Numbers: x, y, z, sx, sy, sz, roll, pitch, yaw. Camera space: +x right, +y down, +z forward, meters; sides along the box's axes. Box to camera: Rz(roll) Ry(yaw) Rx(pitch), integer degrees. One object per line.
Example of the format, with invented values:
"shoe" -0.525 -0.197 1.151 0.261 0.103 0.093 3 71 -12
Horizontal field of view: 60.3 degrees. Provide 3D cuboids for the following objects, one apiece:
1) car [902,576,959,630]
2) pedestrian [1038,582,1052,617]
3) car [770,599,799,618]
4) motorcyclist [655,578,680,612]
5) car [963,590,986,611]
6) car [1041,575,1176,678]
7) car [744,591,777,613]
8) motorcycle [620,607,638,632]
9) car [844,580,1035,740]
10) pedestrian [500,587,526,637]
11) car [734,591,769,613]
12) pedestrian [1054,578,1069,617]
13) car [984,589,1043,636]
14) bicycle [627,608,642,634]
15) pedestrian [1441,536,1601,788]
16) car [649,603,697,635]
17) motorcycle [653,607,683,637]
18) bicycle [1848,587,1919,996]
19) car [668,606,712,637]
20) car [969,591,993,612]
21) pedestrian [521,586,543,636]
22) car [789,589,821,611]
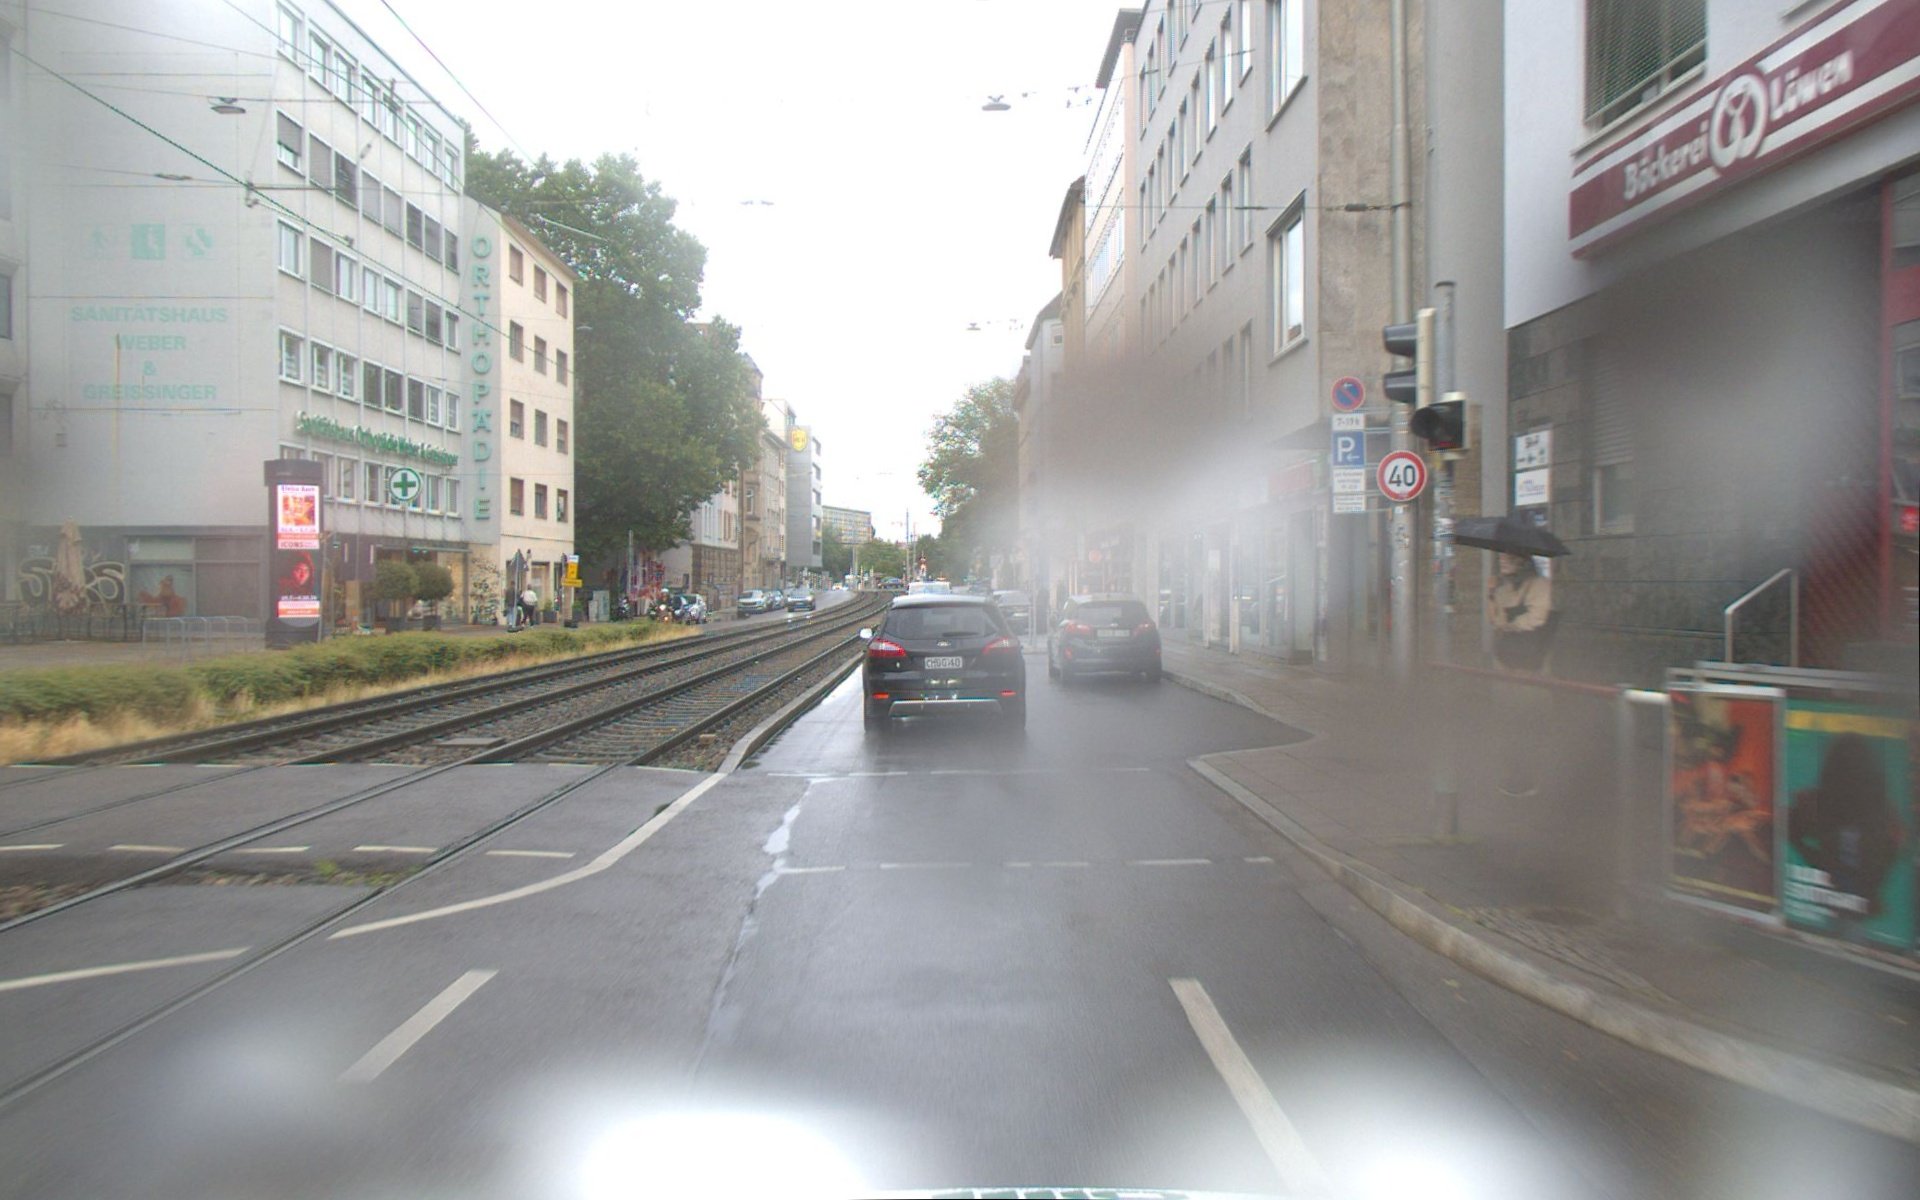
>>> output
"car" -1.015 0.132 59.260 1.953 1.848 4.270 -1 -1 0
"pedestrian" 4.545 -0.019 88.454 0.648 1.884 0.821 0 0 -2
"car" -14.522 0.727 136.757 1.953 1.545 4.675 0 0 -1
"motorcyclist" -10.768 -0.165 60.957 0.726 1.239 0.970 0 -1 1
"car" 1.091 0.032 127.818 1.609 1.542 4.038 0 0 -1
"car" 2.507 0.464 28.945 1.953 1.622 4.270 -1 -1 0
"car" -14.497 0.151 120.213 1.953 1.545 4.208 0 0 -1
"motorcycle" -18.607 1.100 93.003 0.626 1.403 2.119 0 0 -2
"car" -0.213 0.655 19.204 1.953 1.622 4.270 -1 -1 0
"pedestrian" -17.417 0.462 64.463 0.712 1.929 0.982 0 -1 -1
"car" -14.555 0.149 115.645 1.953 1.545 4.434 0 0 -1
"pedestrian" 5.437 -0.135 88.586 0.721 2.049 0.821 0 0 -2
"car" 1.904 0.473 60.284 1.953 1.622 4.571 -1 -1 0
"bicycle" -15.636 1.013 79.494 0.579 1.248 2.399 0 -1 -8
"pedestrian" 3.751 0.399 11.093 0.650 1.610 0.774 0 -1 -22
"car" -14.261 0.942 82.350 1.708 1.494 4.219 -1 0 -1
"motorcycle" -10.774 0.808 61.017 0.727 1.078 1.931 0 -1 1
"bicycle" 3.531 0.594 4.629 0.491 1.281 1.941 1 -1 -25
"car" -14.236 1.107 87.294 1.687 1.598 4.219 0 0 -1
"car" 1.555 0.125 123.309 1.703 1.515 3.999 0 0 -1
"pedestrian" -16.637 0.434 64.277 0.664 1.929 0.742 0 -1 -1
"car" -11.037 0.000 118.089 1.953 1.545 4.443 0 0 -1
